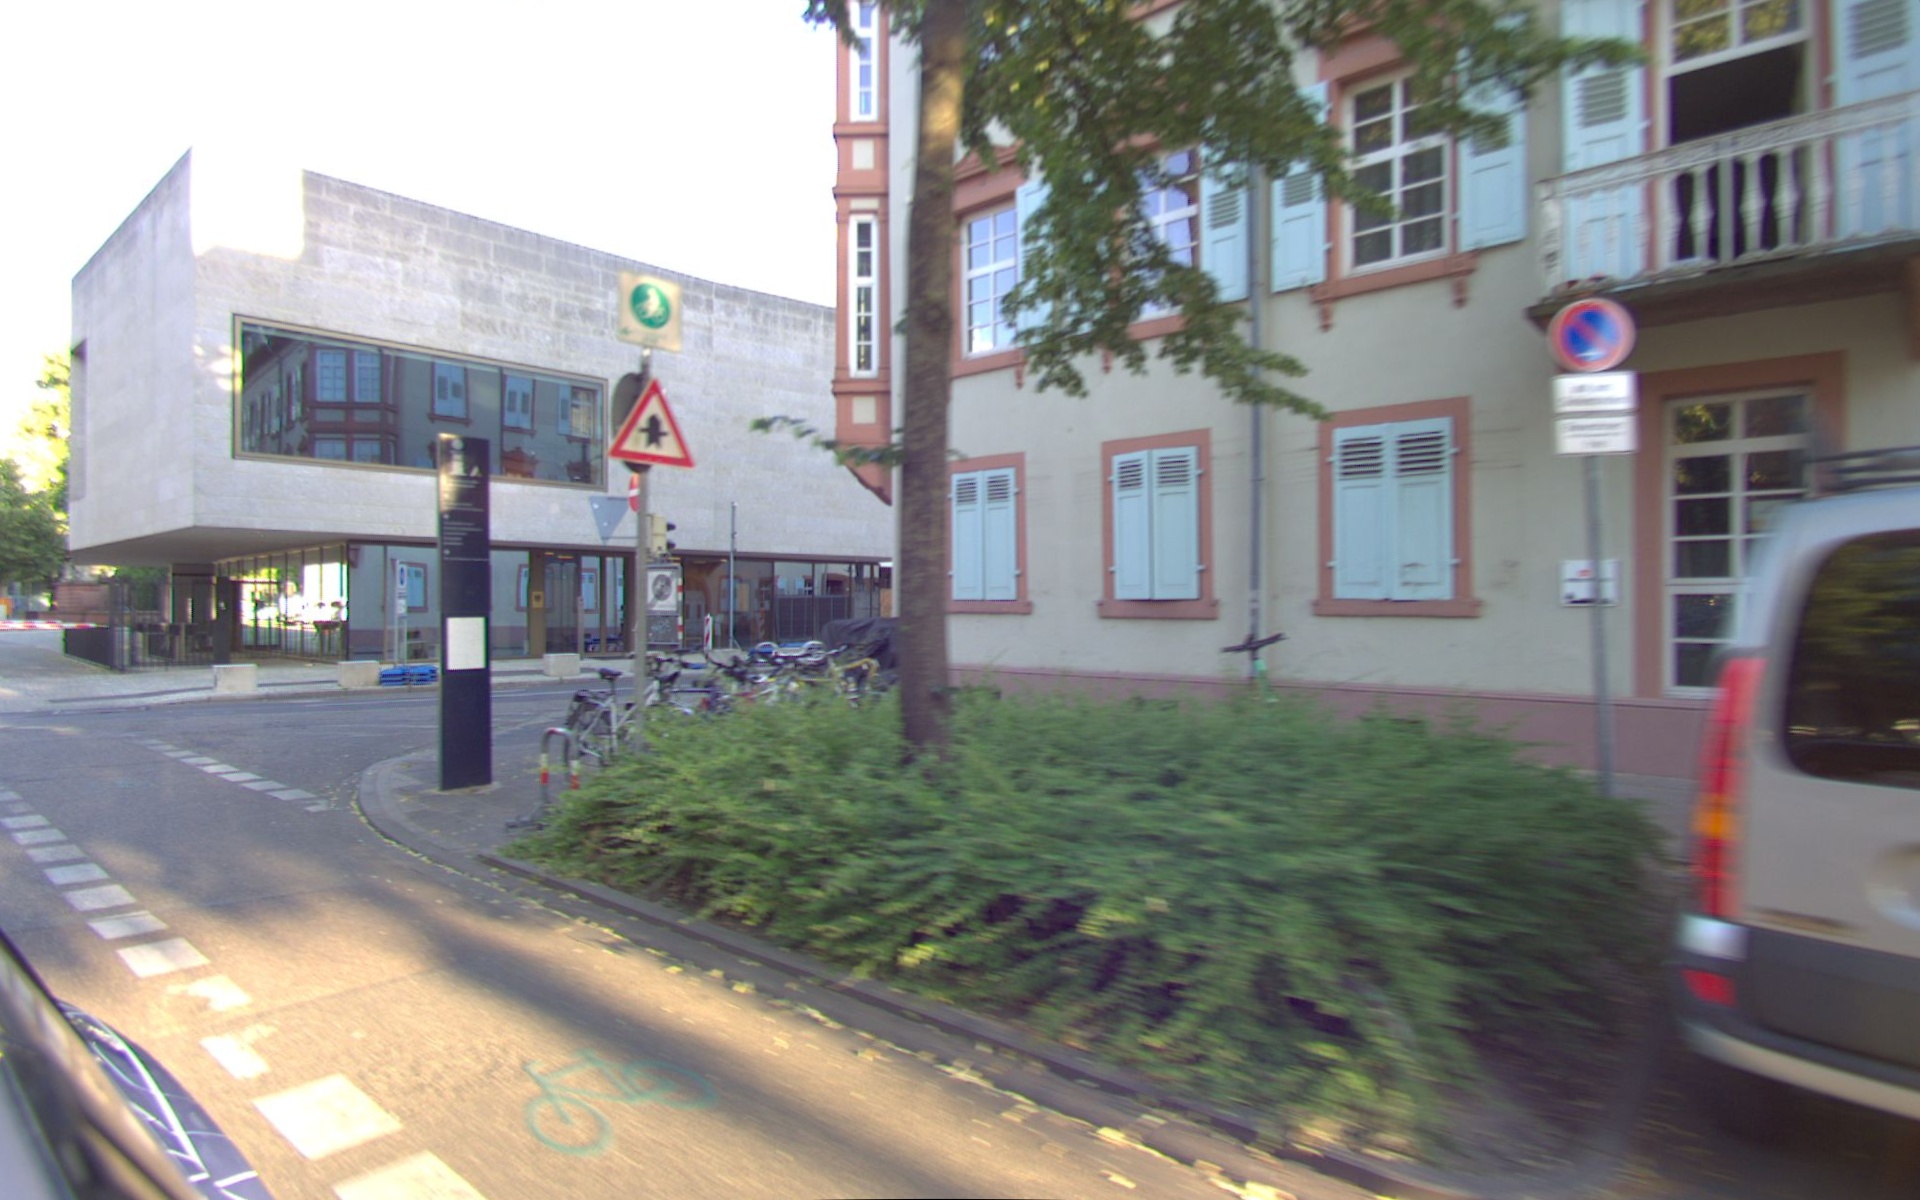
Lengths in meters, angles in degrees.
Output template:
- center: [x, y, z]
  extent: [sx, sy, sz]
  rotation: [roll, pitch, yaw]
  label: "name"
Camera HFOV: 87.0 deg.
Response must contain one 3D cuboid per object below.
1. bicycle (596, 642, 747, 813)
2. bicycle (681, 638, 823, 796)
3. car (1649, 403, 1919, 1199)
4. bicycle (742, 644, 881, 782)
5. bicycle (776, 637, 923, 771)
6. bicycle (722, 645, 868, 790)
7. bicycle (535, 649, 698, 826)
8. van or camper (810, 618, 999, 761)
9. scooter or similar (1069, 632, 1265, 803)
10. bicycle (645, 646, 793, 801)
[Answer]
- center: [-2.240, 0.915, 7.738]
  extent: [1.597, 1.149, 0.327]
  rotation: [-1, 1, 44]
  label: "bicycle"
- center: [-1.772, 0.926, 8.454]
  extent: [1.612, 1.157, 0.308]
  rotation: [0, 0, 44]
  label: "bicycle"
- center: [3.615, 0.530, 3.221]
  extent: [1.701, 1.863, 3.767]
  rotation: [-1, -1, 45]
  label: "car"
- center: [-1.356, 0.961, 9.032]
  extent: [1.597, 1.090, 0.318]
  rotation: [0, -1, 44]
  label: "bicycle"
- center: [-1.047, 0.908, 9.291]
  extent: [1.597, 1.090, 0.391]
  rotation: [-1, 1, 44]
  label: "bicycle"
- center: [-1.432, 0.952, 8.613]
  extent: [1.597, 1.090, 0.336]
  rotation: [-1, -1, 44]
  label: "bicycle"
- center: [-2.594, 0.962, 7.539]
  extent: [1.713, 1.116, 0.391]
  rotation: [0, 1, 44]
  label: "bicycle"
- center: [-0.595, 0.836, 10.268]
  extent: [0.930, 1.269, 1.846]
  rotation: [-1, 0, -44]
  label: "van or camper"
- center: [1.641, 0.879, 8.120]
  extent: [1.394, 1.231, 0.669]
  rotation: [-1, -2, 42]
  label: "scooter or similar"
- center: [-1.964, 0.941, 8.118]
  extent: [1.597, 1.090, 0.315]
  rotation: [-1, 1, 44]
  label: "bicycle"
